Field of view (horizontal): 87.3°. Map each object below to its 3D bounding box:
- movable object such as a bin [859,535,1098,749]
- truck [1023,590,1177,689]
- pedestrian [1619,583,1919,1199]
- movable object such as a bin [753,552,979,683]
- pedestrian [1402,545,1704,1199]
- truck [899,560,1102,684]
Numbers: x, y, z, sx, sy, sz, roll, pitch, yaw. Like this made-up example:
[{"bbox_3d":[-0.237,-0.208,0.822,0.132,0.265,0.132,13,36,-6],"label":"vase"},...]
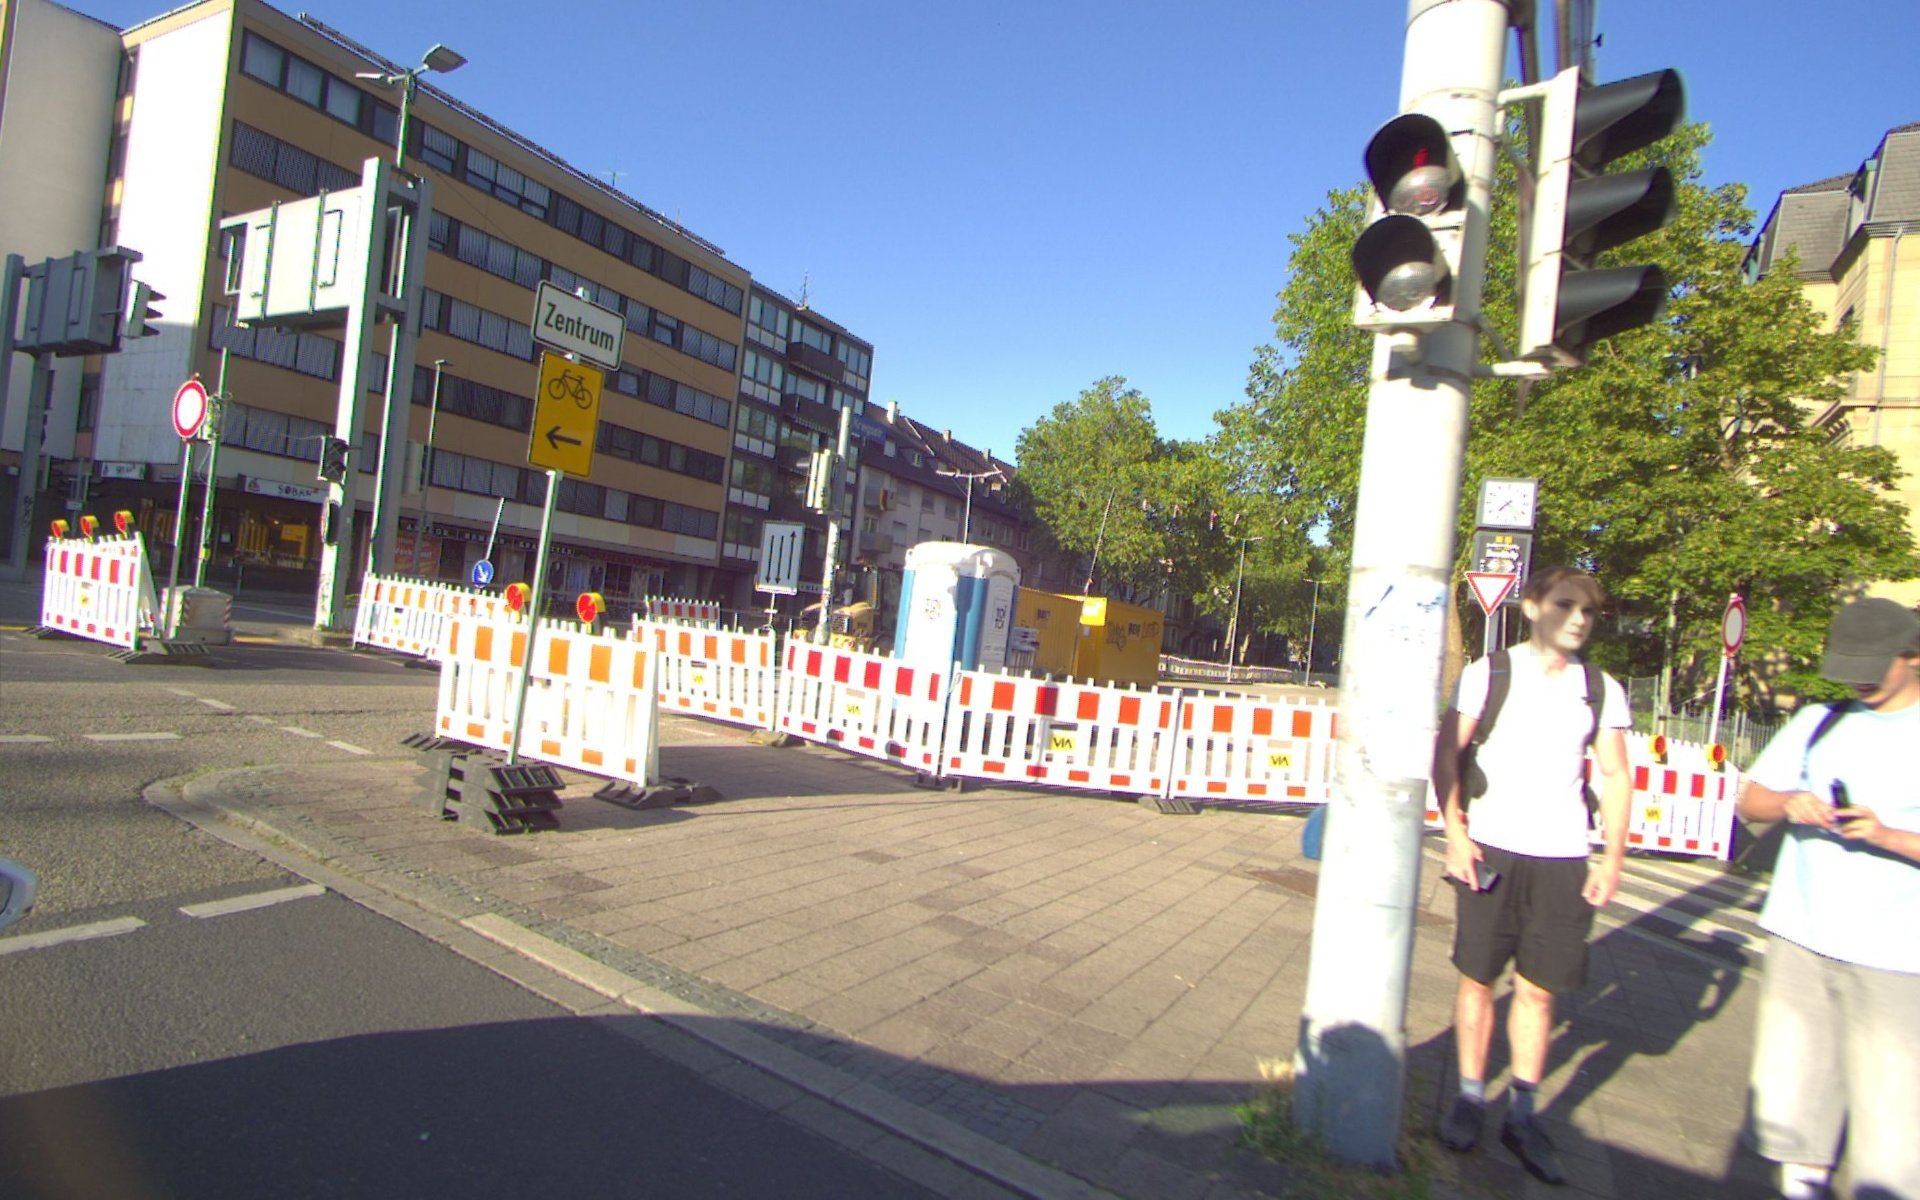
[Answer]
[{"bbox_3d":[0.369,0.601,13.453,1.503,2.411,3.334,6,-1,31],"label":"movable object such as a bin"},{"bbox_3d":[5.278,1.547,36.508,2.760,2.932,7.348,6,-2,30],"label":"truck"},{"bbox_3d":[2.426,0.913,2.705,0.735,1.821,0.710,7,0,-31],"label":"pedestrian"},{"bbox_3d":[-2.036,0.521,23.782,2.505,2.519,5.361,6,-1,29],"label":"movable object such as a bin"},{"bbox_3d":[1.861,0.816,3.237,0.604,1.891,0.522,6,0,26],"label":"pedestrian"},{"bbox_3d":[1.452,0.814,29.733,2.760,2.932,7.349,6,-2,29],"label":"truck"}]
